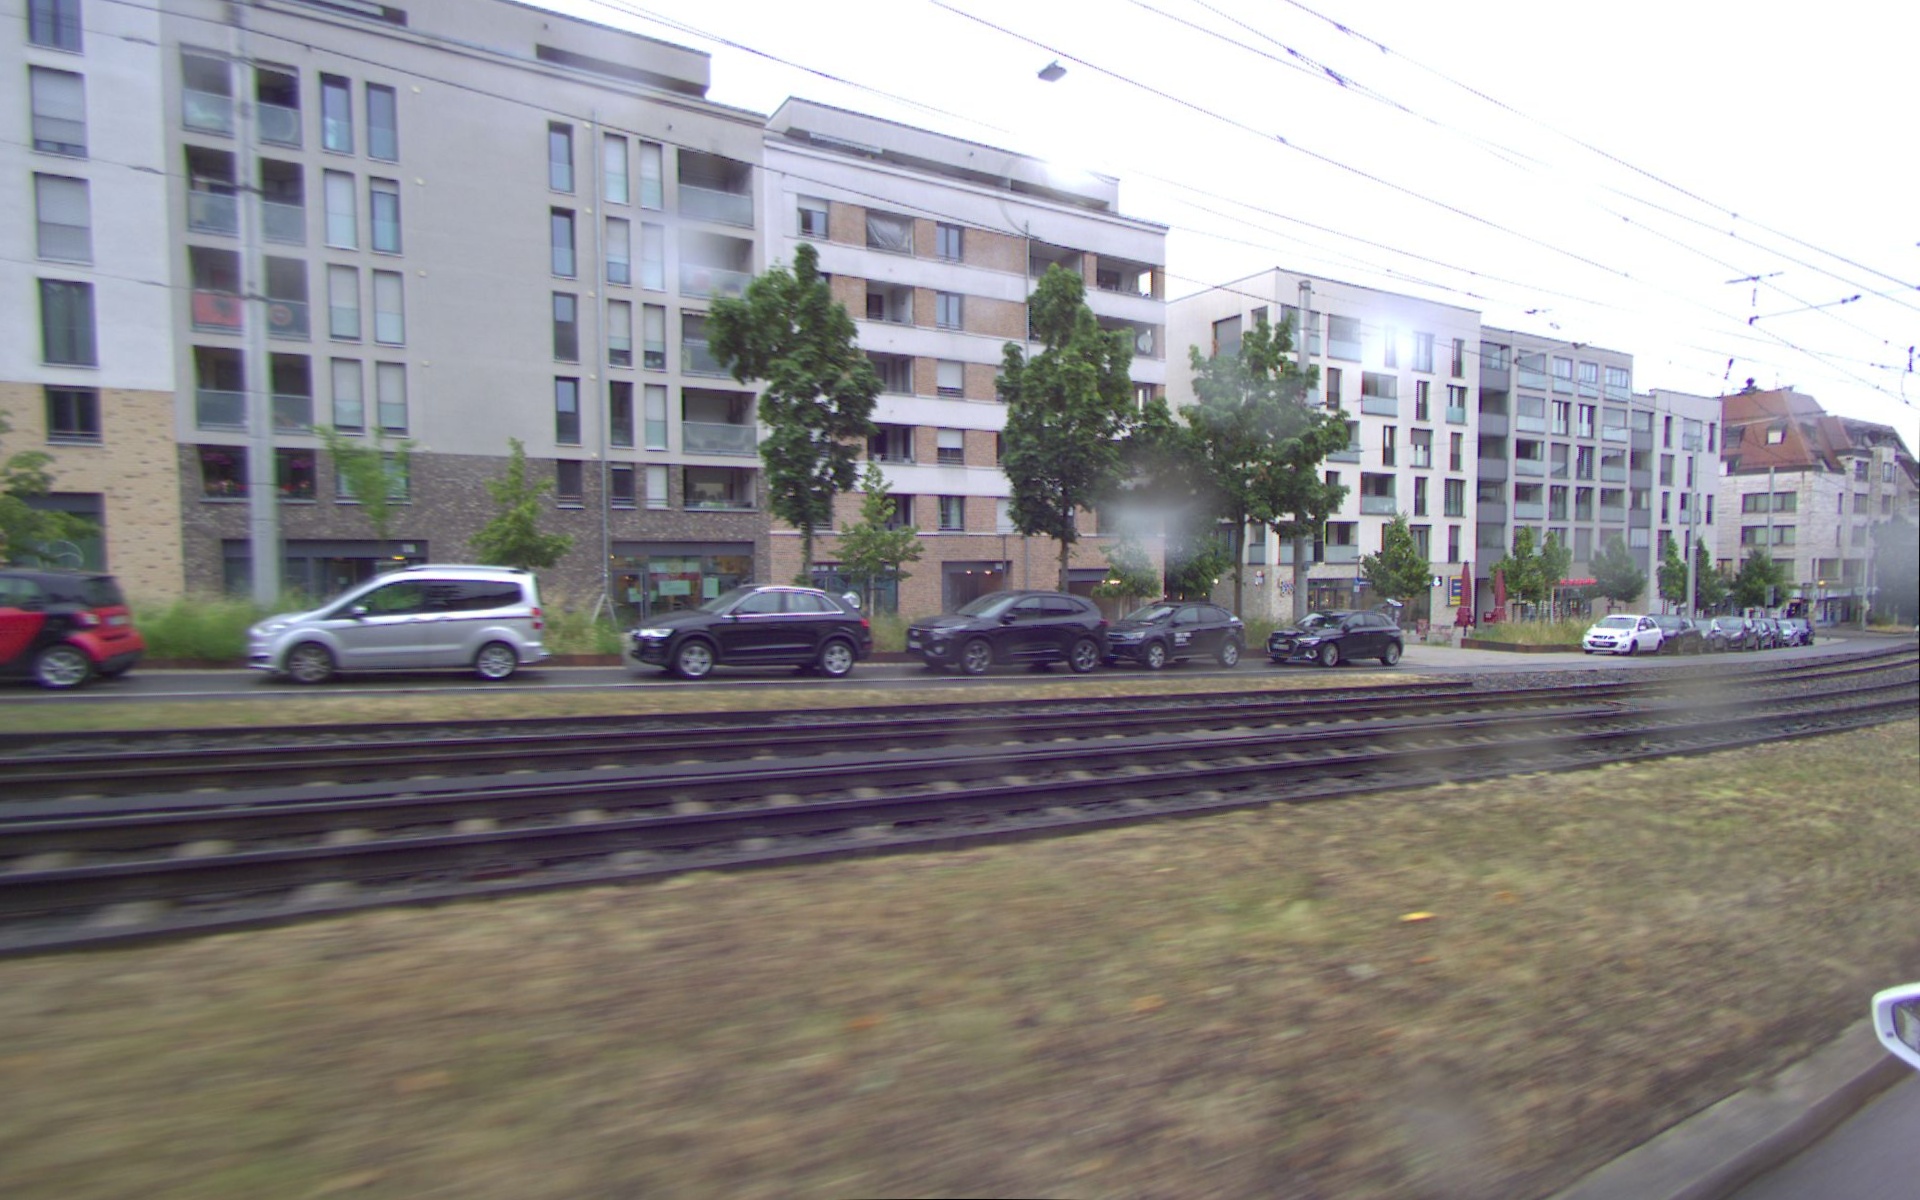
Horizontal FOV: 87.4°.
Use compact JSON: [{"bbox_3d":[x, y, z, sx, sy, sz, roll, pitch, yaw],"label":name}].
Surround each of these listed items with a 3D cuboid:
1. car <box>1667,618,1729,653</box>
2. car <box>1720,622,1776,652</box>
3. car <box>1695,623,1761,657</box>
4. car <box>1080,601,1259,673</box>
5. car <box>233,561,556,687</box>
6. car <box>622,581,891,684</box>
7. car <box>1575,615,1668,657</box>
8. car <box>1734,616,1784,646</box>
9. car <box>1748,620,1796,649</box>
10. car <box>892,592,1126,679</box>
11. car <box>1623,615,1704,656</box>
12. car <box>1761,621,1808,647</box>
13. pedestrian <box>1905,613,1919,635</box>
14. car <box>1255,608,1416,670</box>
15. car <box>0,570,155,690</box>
[{"bbox_3d":[32.892,1.558,44.757,3.424,1.454,1.535,1,0,-41],"label":"car"},{"bbox_3d":[40.490,1.896,51.597,3.979,1.380,1.535,1,1,-41],"label":"car"},{"bbox_3d":[36.764,1.887,48.029,4.285,1.533,1.704,1,0,-41],"label":"car"},{"bbox_3d":[5.027,0.847,23.904,4.215,1.509,1.725,1,1,-35],"label":"car"},{"bbox_3d":[-8.701,0.364,15.807,4.204,1.771,1.656,1,1,-28],"label":"car"},{"bbox_3d":[-3.659,0.557,18.259,4.475,1.666,1.724,1,1,-28],"label":"car"},{"bbox_3d":[25.440,1.382,38.591,3.697,1.499,1.754,1,0,-35],"label":"car"},{"bbox_3d":[43.770,1.687,55.006,1.754,1.524,3.897,1,0,44],"label":"car"},{"bbox_3d":[47.031,1.974,58.143,1.754,1.524,4.058,1,0,44],"label":"car"},{"bbox_3d":[1.065,0.719,20.966,4.644,1.605,1.794,1,1,-31],"label":"car"},{"bbox_3d":[28.915,1.437,41.226,4.372,1.582,1.750,1,0,-41],"label":"car"},{"bbox_3d":[51.891,2.131,63.176,1.892,1.524,4.210,1,0,44],"label":"car"},{"bbox_3d":[84.185,2.119,88.784,0.895,1.957,0.820,2,1,44],"label":"pedestrian"},{"bbox_3d":[10.056,1.011,26.843,4.155,1.450,1.954,1,1,-33],"label":"car"},{"bbox_3d":[-12.871,0.369,13.472,2.888,1.551,1.466,1,1,-22],"label":"car"}]
